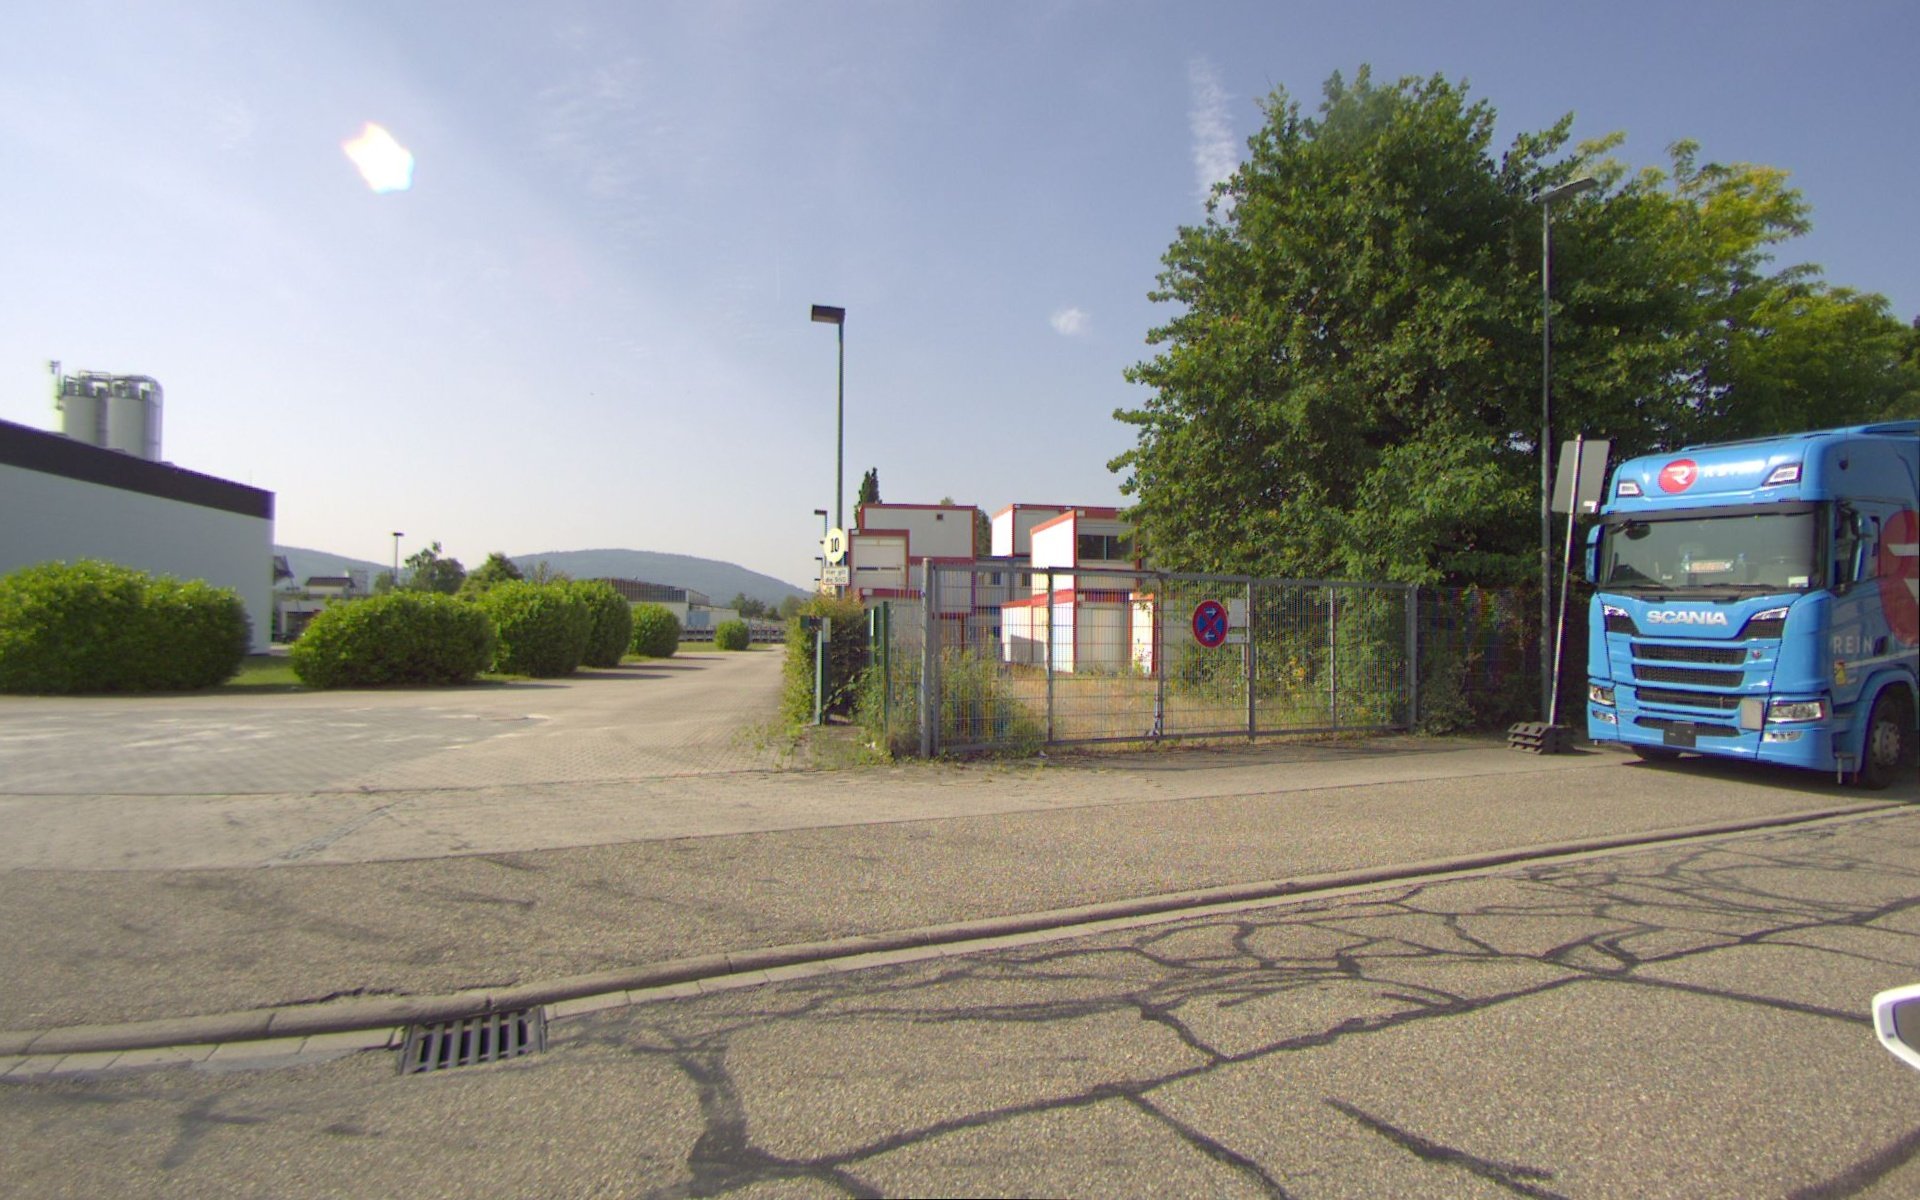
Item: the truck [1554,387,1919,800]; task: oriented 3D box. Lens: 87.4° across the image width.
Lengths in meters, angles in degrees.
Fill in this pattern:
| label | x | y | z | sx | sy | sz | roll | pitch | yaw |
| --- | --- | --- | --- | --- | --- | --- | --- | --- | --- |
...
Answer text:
| label | x | y | z | sx | sy | sz | roll | pitch | yaw |
| --- | --- | --- | --- | --- | --- | --- | --- | --- | --- |
| truck | 11.976 | 0.070 | 12.909 | 9.509 | 3.936 | 2.704 | 2 | -1 | -26 |
